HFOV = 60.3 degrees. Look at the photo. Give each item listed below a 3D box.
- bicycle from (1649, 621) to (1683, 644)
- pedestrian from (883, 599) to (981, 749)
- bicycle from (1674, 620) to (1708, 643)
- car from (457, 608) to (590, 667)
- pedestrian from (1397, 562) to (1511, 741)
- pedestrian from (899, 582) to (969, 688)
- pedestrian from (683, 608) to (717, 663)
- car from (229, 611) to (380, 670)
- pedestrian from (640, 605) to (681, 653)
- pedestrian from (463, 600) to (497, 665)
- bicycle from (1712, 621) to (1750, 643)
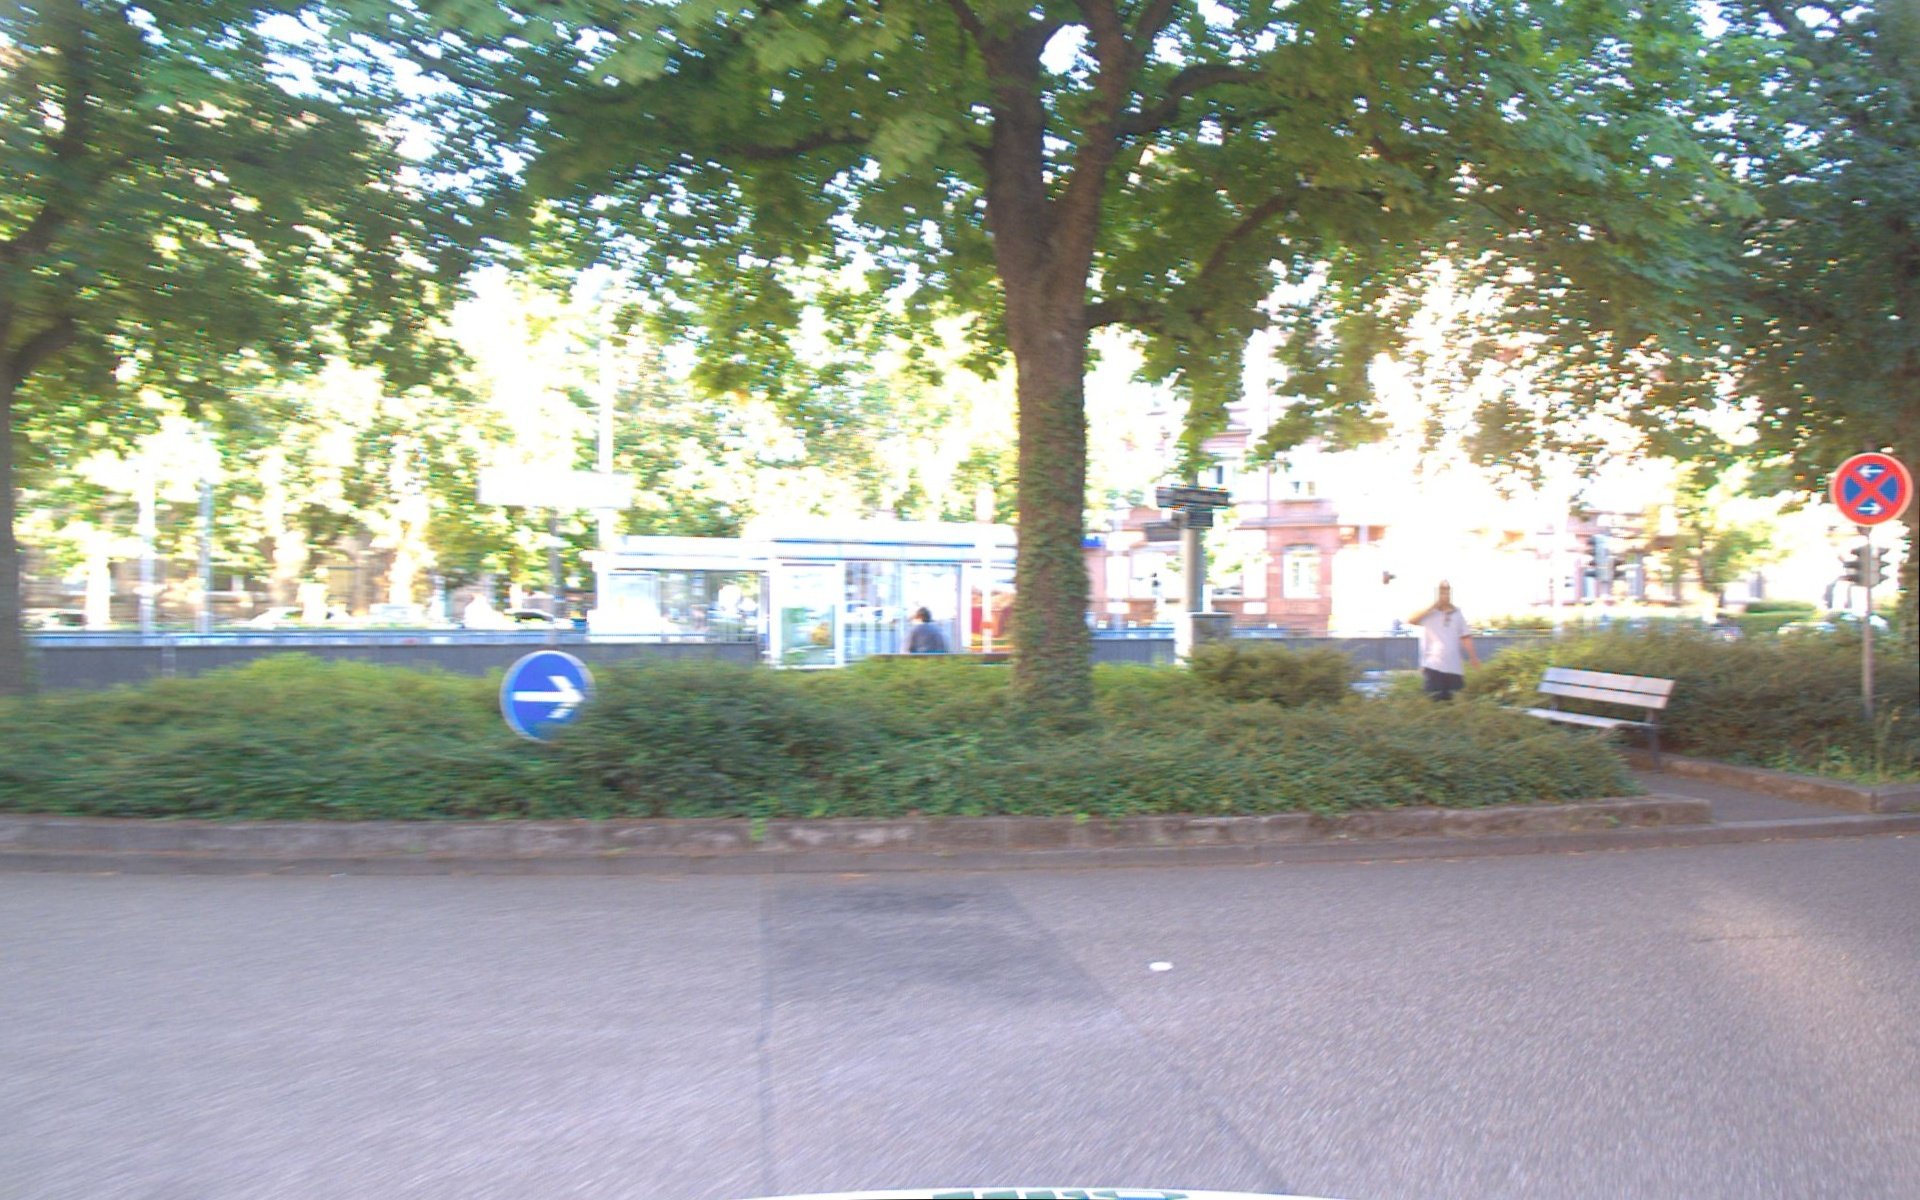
[{"bbox_3d":[27.724,1.266,64.923,1.199,0.877,0.449,0,0,-13],"label":"bicycle"},{"bbox_3d":[-0.321,0.846,19.471,0.878,1.713,0.819,0,0,25],"label":"pedestrian"},{"bbox_3d":[28.853,1.232,65.282,1.199,0.877,0.449,0,0,-13],"label":"bicycle"},{"bbox_3d":[-14.789,1.244,56.061,3.952,1.903,1.976,0,0,-34],"label":"car"},{"bbox_3d":[4.839,0.496,16.244,0.896,1.713,0.780,0,0,1],"label":"pedestrian"},{"bbox_3d":[-0.488,0.636,30.737,1.006,1.931,0.903,0,-1,-30],"label":"pedestrian"},{"bbox_3d":[-7.540,1.020,47.924,0.797,1.570,0.816,2,-1,-20],"label":"pedestrian"},{"bbox_3d":[-20.194,1.210,51.037,1.916,1.709,3.931,0,0,38],"label":"car"},{"bbox_3d":[-10.388,1.000,57.339,1.055,1.659,0.989,0,-1,-41],"label":"pedestrian"},{"bbox_3d":[-12.918,0.866,44.511,0.694,1.725,0.664,2,-1,-30],"label":"pedestrian"},{"bbox_3d":[30.974,1.287,66.452,1.417,0.877,0.449,0,0,-14],"label":"bicycle"}]
